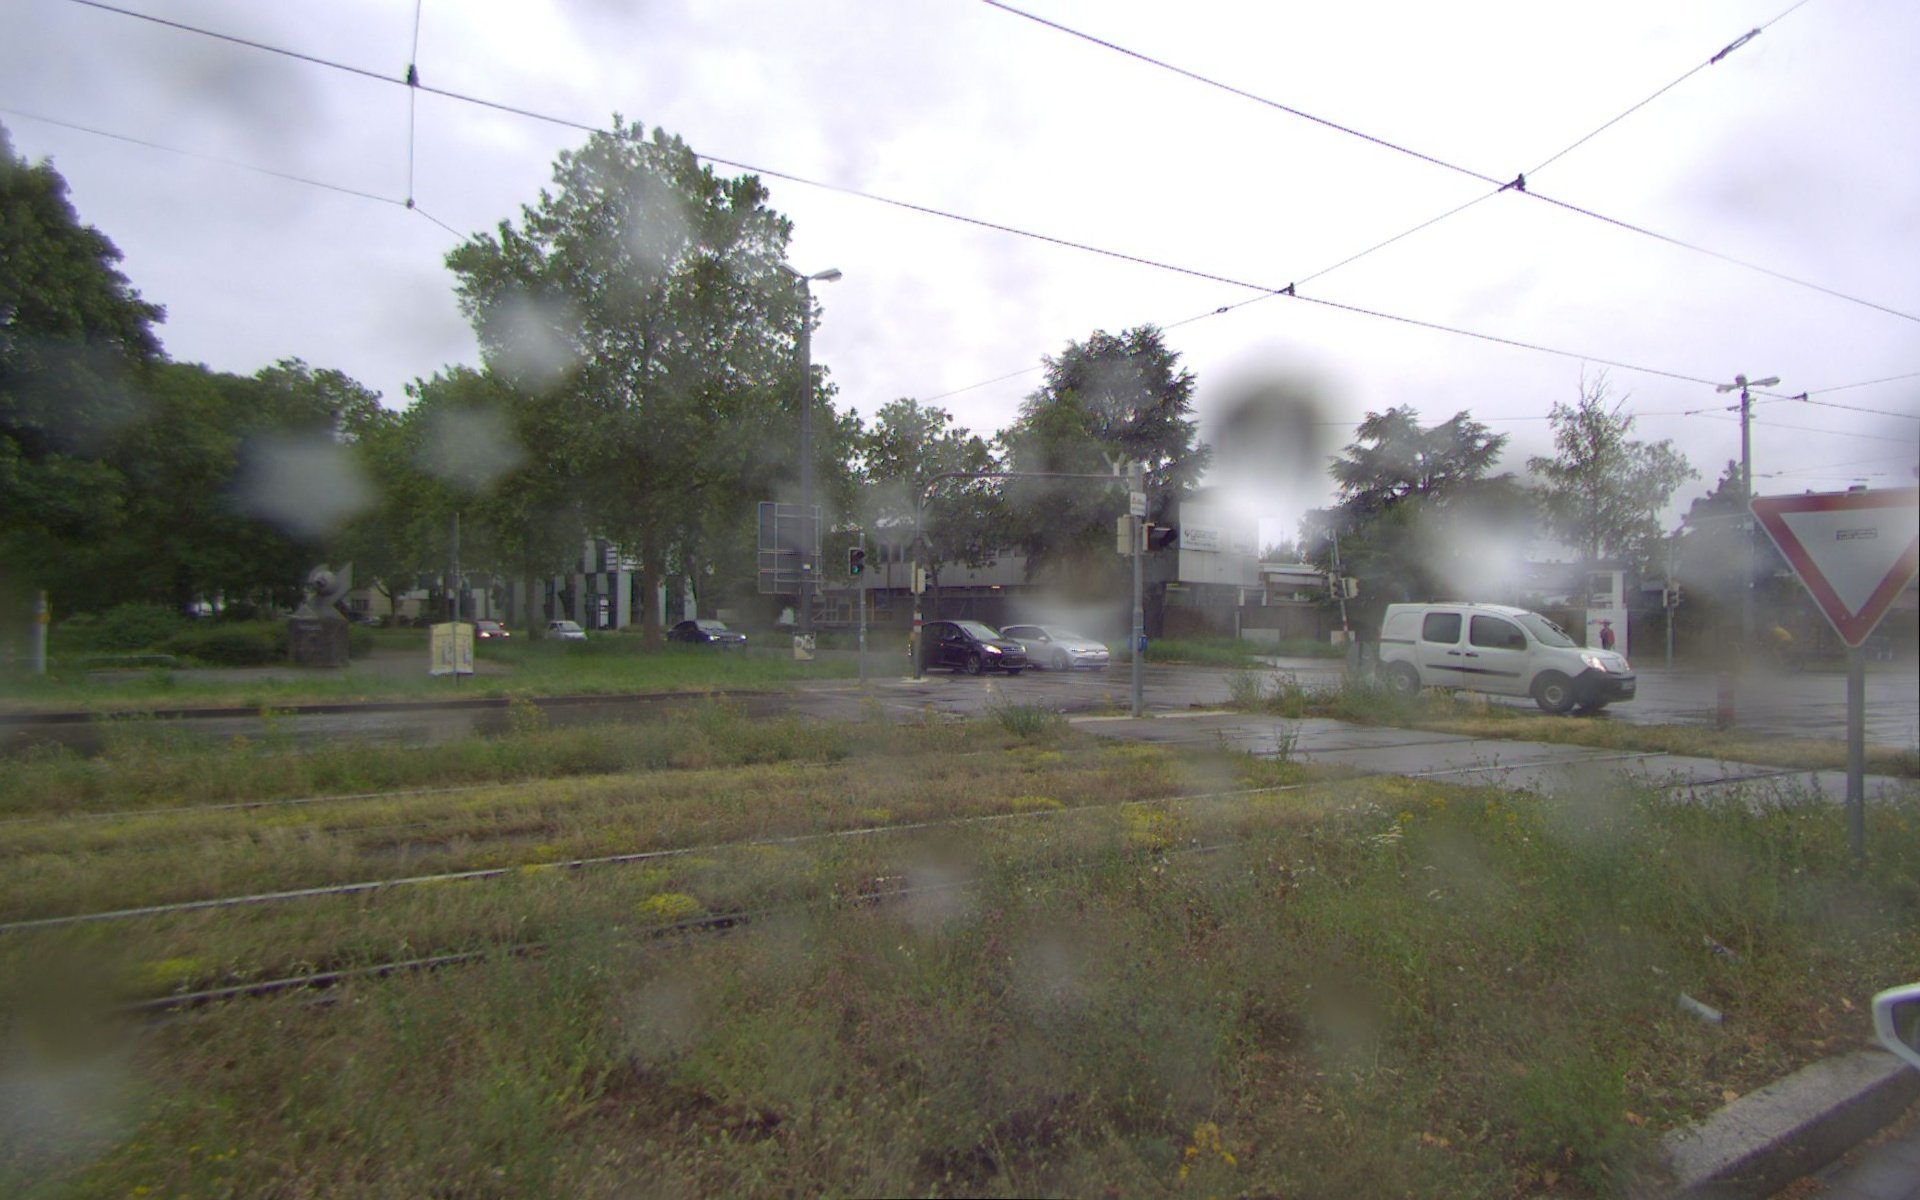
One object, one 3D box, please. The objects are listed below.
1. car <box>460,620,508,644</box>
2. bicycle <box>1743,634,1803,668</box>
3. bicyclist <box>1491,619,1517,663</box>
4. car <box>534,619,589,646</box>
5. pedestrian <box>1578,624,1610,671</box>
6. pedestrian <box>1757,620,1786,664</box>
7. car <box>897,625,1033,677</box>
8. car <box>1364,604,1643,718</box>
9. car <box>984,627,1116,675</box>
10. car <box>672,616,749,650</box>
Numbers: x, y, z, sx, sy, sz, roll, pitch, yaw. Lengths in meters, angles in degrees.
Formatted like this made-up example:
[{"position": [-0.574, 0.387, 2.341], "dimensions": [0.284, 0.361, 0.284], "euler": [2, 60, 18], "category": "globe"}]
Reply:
[{"position": [-28.883, 1.917, 60.907], "dimensions": [1.640, 1.413, 3.782], "euler": [2, -3, -42], "category": "car"}, {"position": [27.675, 1.735, 34.209], "dimensions": [0.492, 1.116, 1.559], "euler": [1, -2, -21], "category": "bicycle"}, {"position": [21.617, 1.628, 39.916], "dimensions": [0.635, 1.705, 0.680], "euler": [2, -2, -34], "category": "bicyclist"}, {"position": [-21.939, 1.769, 55.250], "dimensions": [1.640, 1.413, 3.782], "euler": [2, -3, -42], "category": "car"}, {"position": [24.383, 1.807, 38.653], "dimensions": [0.787, 1.787, 0.909], "euler": [0, -2, 15], "category": "pedestrian"}, {"position": [27.666, 1.437, 34.244], "dimensions": [0.492, 1.494, 0.575], "euler": [1, -2, -22], "category": "pedestrian"}, {"position": [0.086, 1.503, 30.442], "dimensions": [1.640, 1.474, 4.316], "euler": [2, -3, -42], "category": "car"}, {"position": [9.728, 1.008, 18.269], "dimensions": [1.637, 1.820, 4.178], "euler": [0, -1, -37], "category": "car"}, {"position": [2.847, 1.612, 32.565], "dimensions": [1.640, 1.474, 4.316], "euler": [2, -3, -42], "category": "car"}, {"position": [-10.756, 1.421, 43.234], "dimensions": [1.640, 1.413, 3.782], "euler": [2, -3, -42], "category": "car"}]
